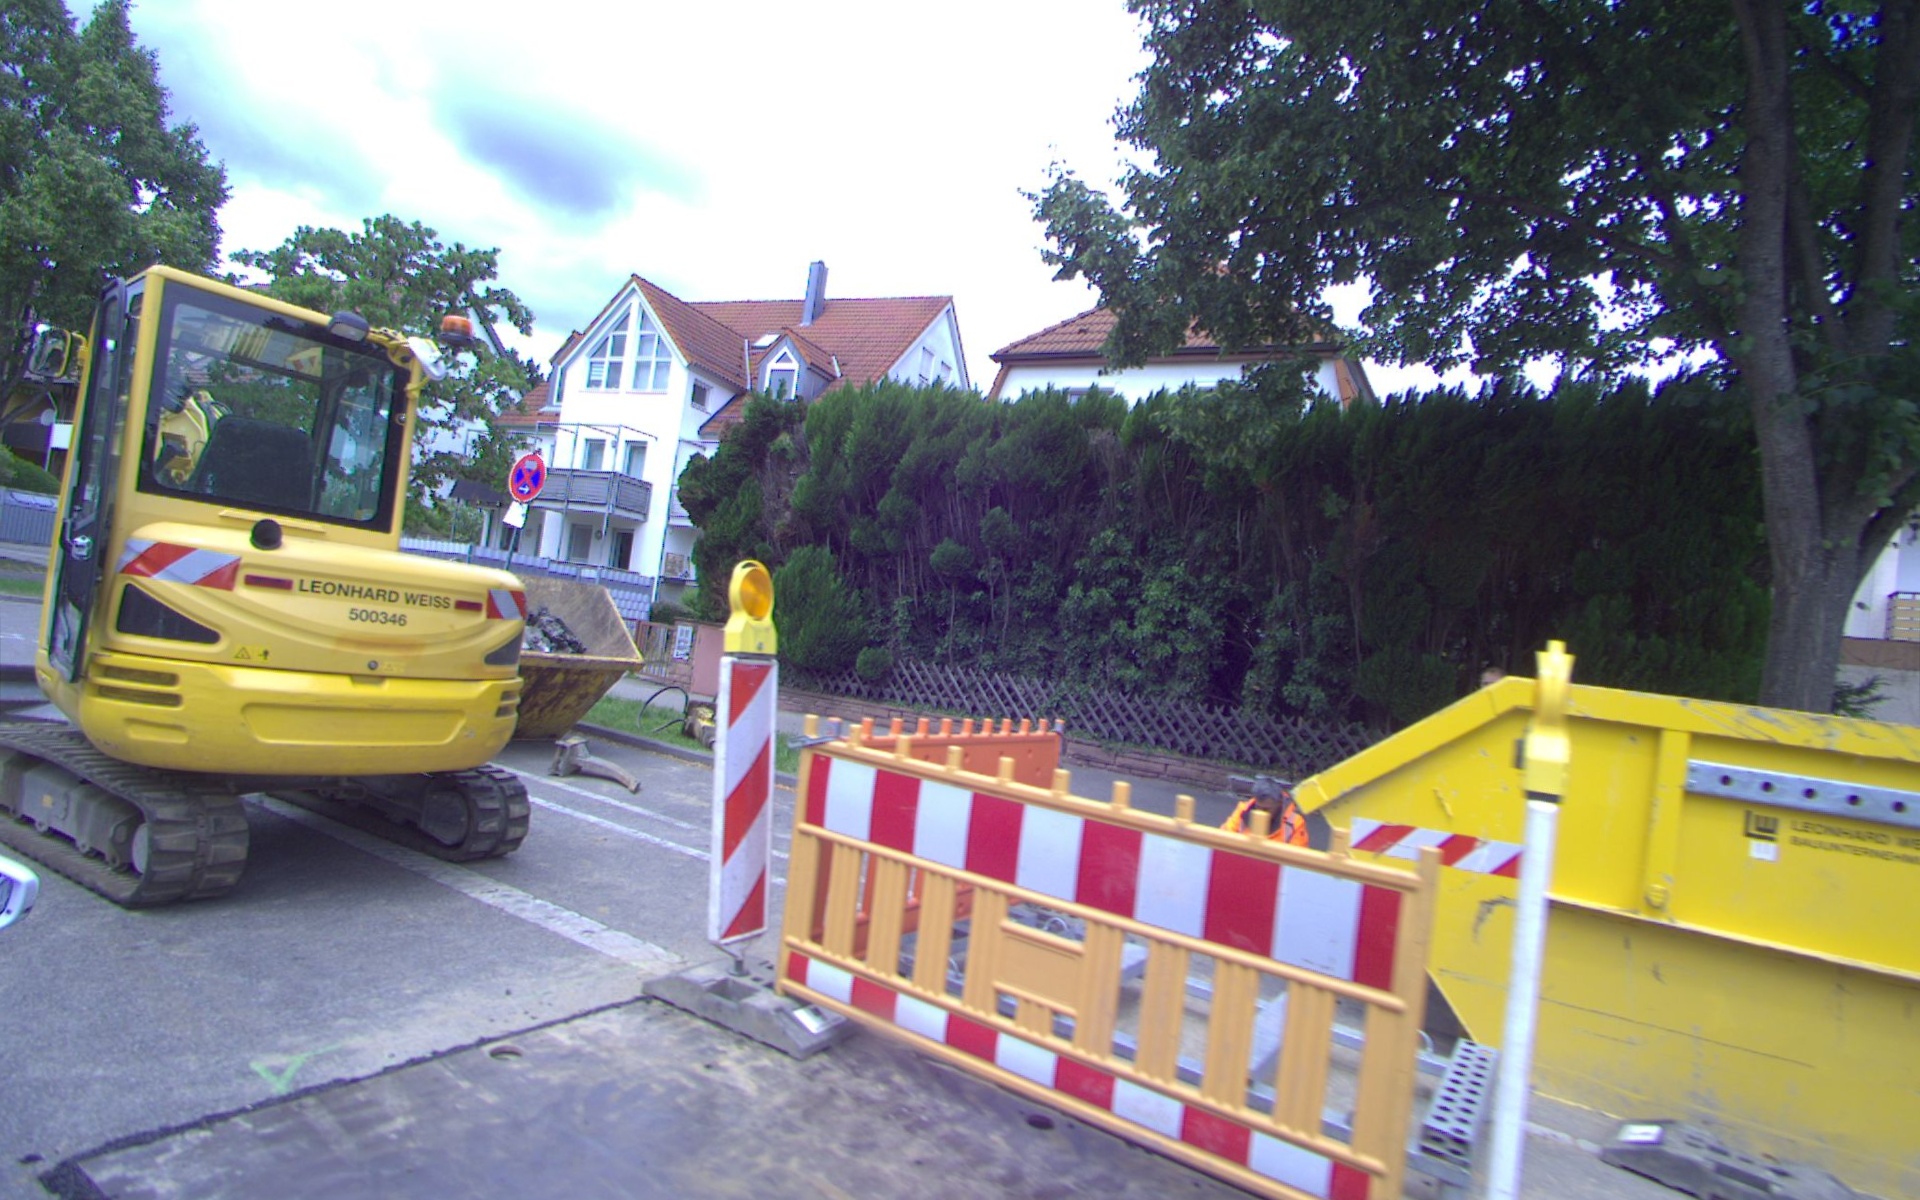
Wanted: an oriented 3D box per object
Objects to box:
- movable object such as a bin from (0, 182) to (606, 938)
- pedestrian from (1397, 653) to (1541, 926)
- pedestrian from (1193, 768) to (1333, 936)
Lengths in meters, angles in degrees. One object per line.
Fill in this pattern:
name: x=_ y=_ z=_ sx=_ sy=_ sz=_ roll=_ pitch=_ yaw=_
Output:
movable object such as a bin: x=-3.906 y=-0.220 z=5.195 sx=3.679 sy=2.603 sz=1.771 roll=7 pitch=-2 yaw=34
pedestrian: x=3.462 y=1.242 z=6.819 sx=0.633 sy=1.653 sz=0.705 roll=7 pitch=-1 yaw=33
pedestrian: x=1.990 y=1.604 z=6.569 sx=0.662 sy=0.869 sz=0.714 roll=7 pitch=-2 yaw=27
